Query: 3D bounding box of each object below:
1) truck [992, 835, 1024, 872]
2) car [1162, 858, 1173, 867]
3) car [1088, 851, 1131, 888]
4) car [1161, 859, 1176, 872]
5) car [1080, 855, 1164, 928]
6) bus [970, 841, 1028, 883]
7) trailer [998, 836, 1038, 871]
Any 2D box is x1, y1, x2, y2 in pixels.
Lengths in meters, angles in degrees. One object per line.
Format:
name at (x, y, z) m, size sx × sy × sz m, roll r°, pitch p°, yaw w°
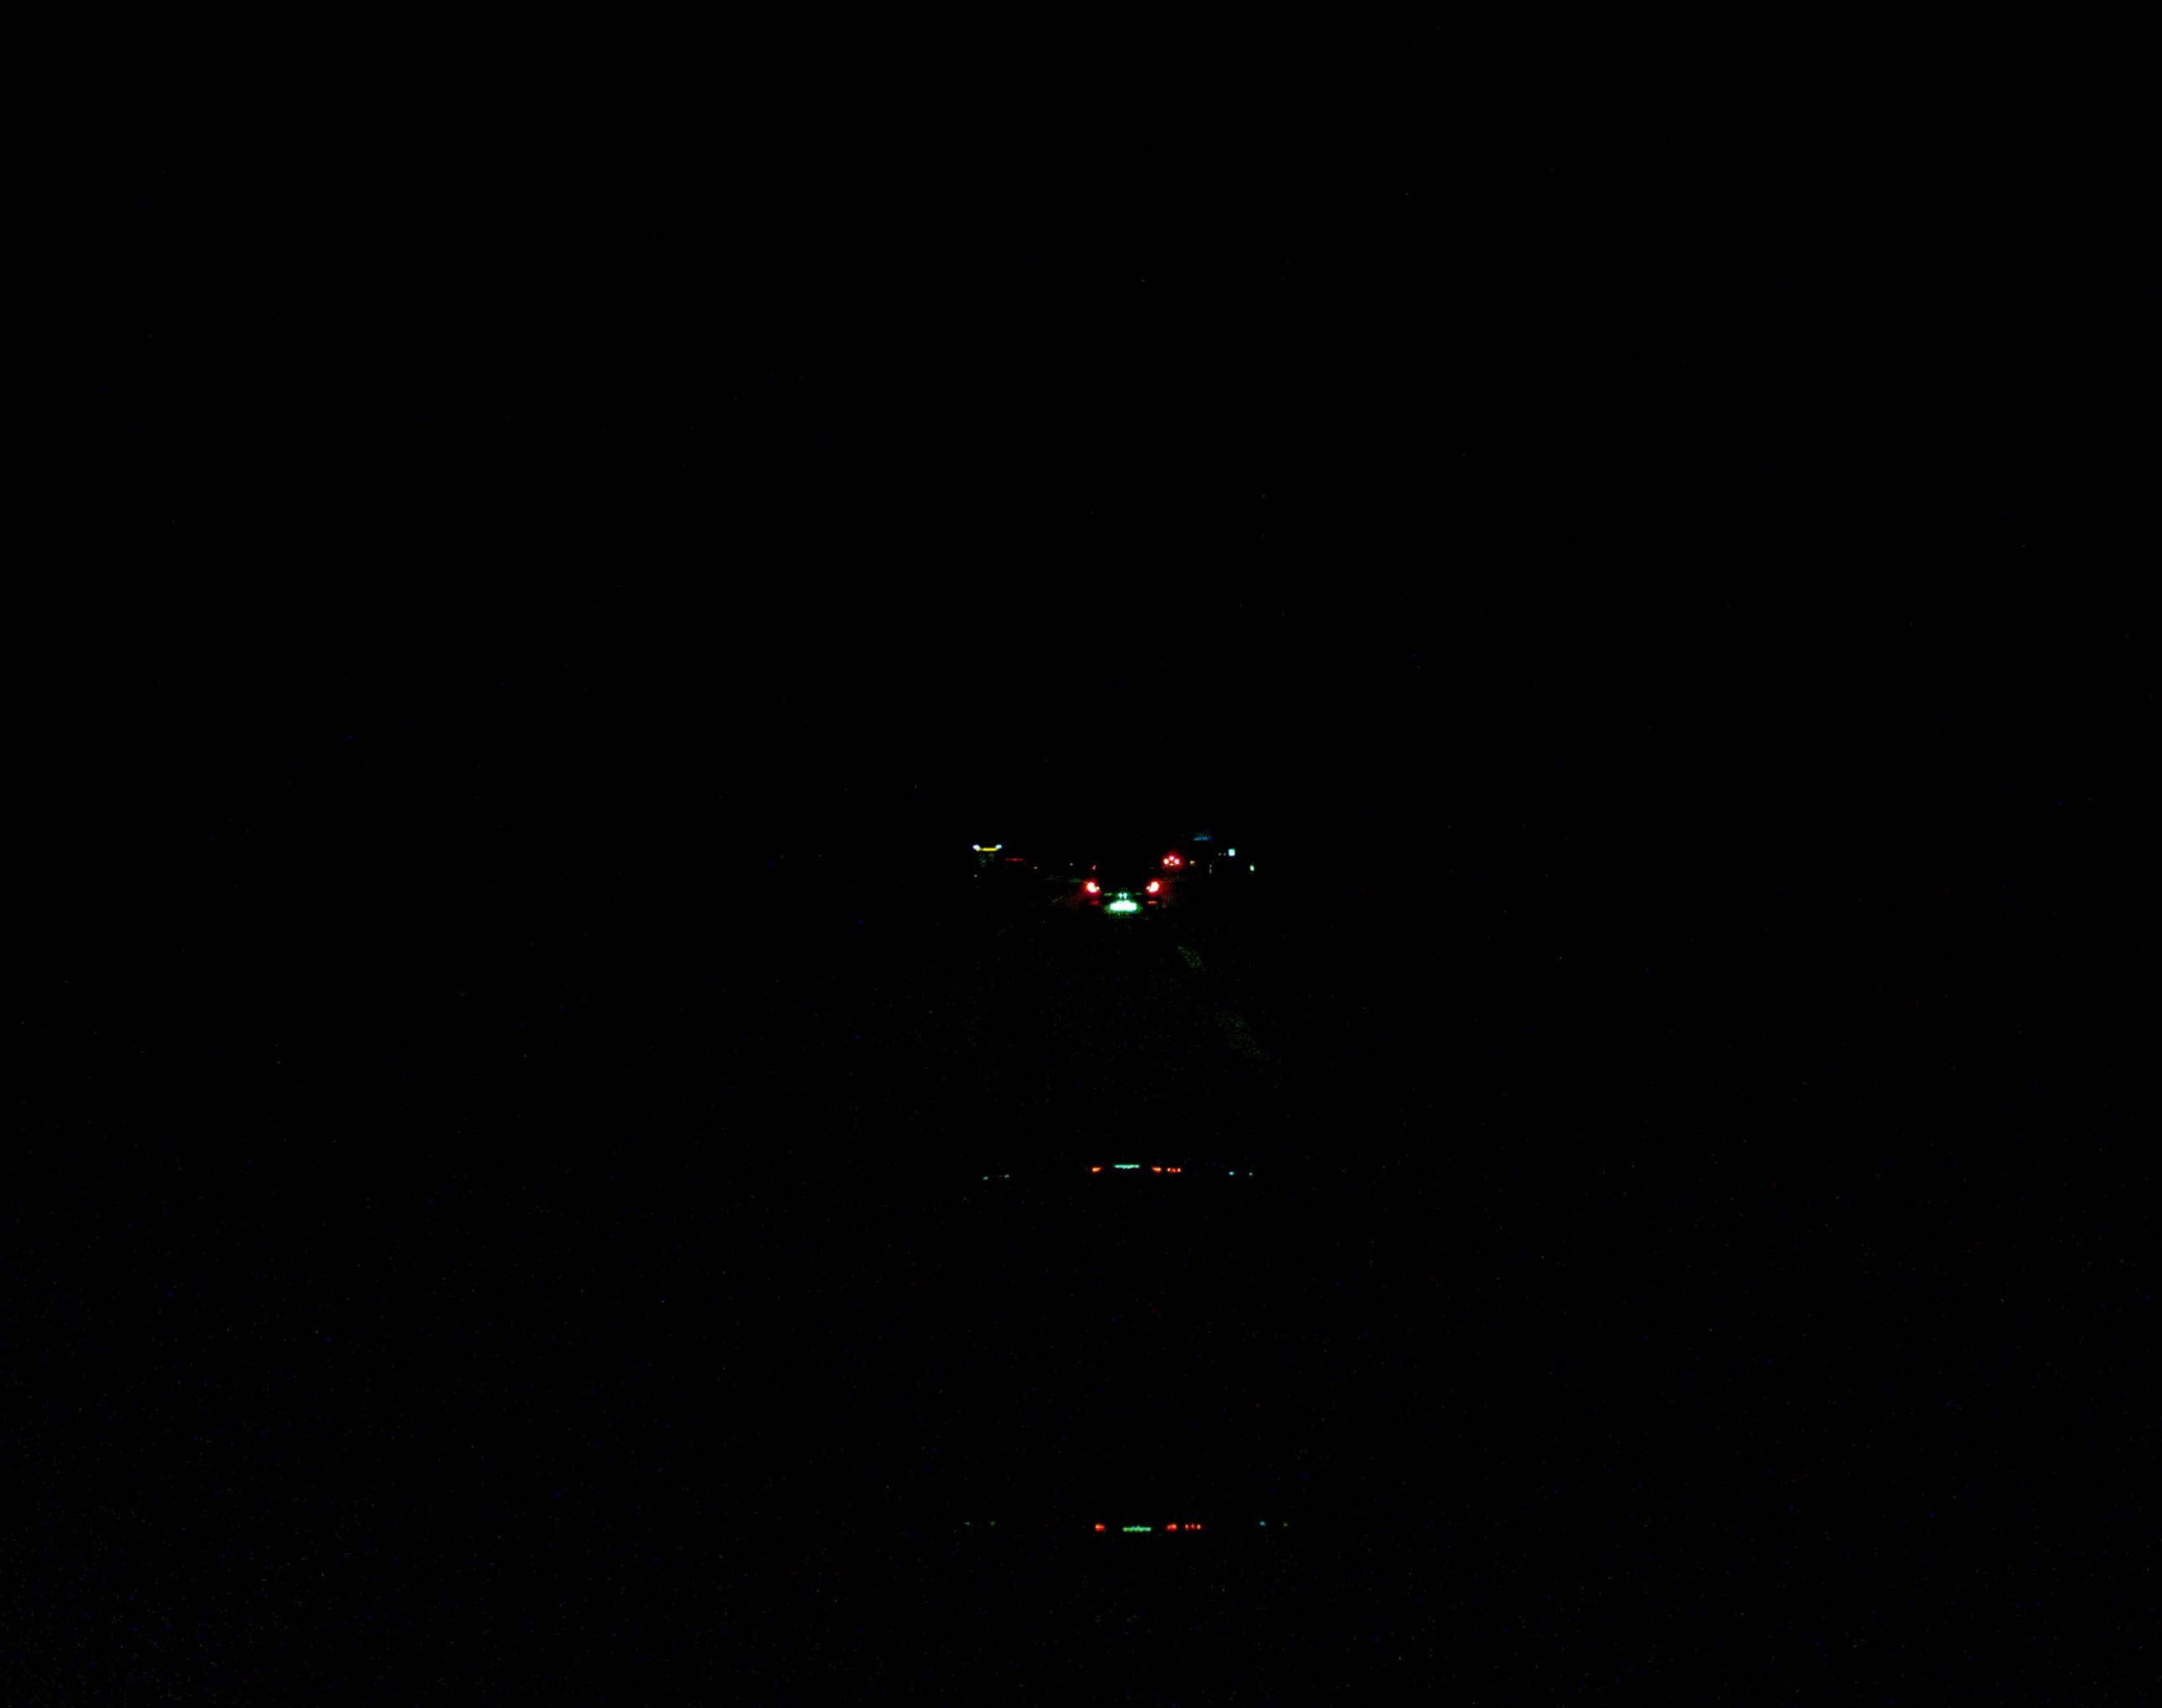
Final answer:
truck at (-8.524, -0.016, 95.926) m, size 2.663 × 4.177 × 5.876 m, roll -1°, pitch 0°, yaw 5°
car at (16.872, 1.689, 159.566) m, size 1.943 × 1.538 × 4.245 m, roll -6°, pitch -2°, yaw 4°
car at (1.418, 0.701, 38.874) m, size 1.932 × 1.608 × 4.647 m, roll -1°, pitch 0°, yaw 3°
car at (11.851, 1.527, 109.899) m, size 1.727 × 1.618 × 3.800 m, roll -1°, pitch -1°, yaw 2°
car at (0.967, 0.781, 18.612) m, size 1.684 × 1.478 × 4.004 m, roll -1°, pitch 0°, yaw 4°
bus at (-7.164, 0.647, 73.278) m, size 2.910 × 3.387 × 12.323 m, roll -1°, pitch 0°, yaw 5°
trailer at (-7.817, -0.091, 103.196) m, size 2.663 × 4.150 × 13.765 m, roll -1°, pitch 0°, yaw 5°
